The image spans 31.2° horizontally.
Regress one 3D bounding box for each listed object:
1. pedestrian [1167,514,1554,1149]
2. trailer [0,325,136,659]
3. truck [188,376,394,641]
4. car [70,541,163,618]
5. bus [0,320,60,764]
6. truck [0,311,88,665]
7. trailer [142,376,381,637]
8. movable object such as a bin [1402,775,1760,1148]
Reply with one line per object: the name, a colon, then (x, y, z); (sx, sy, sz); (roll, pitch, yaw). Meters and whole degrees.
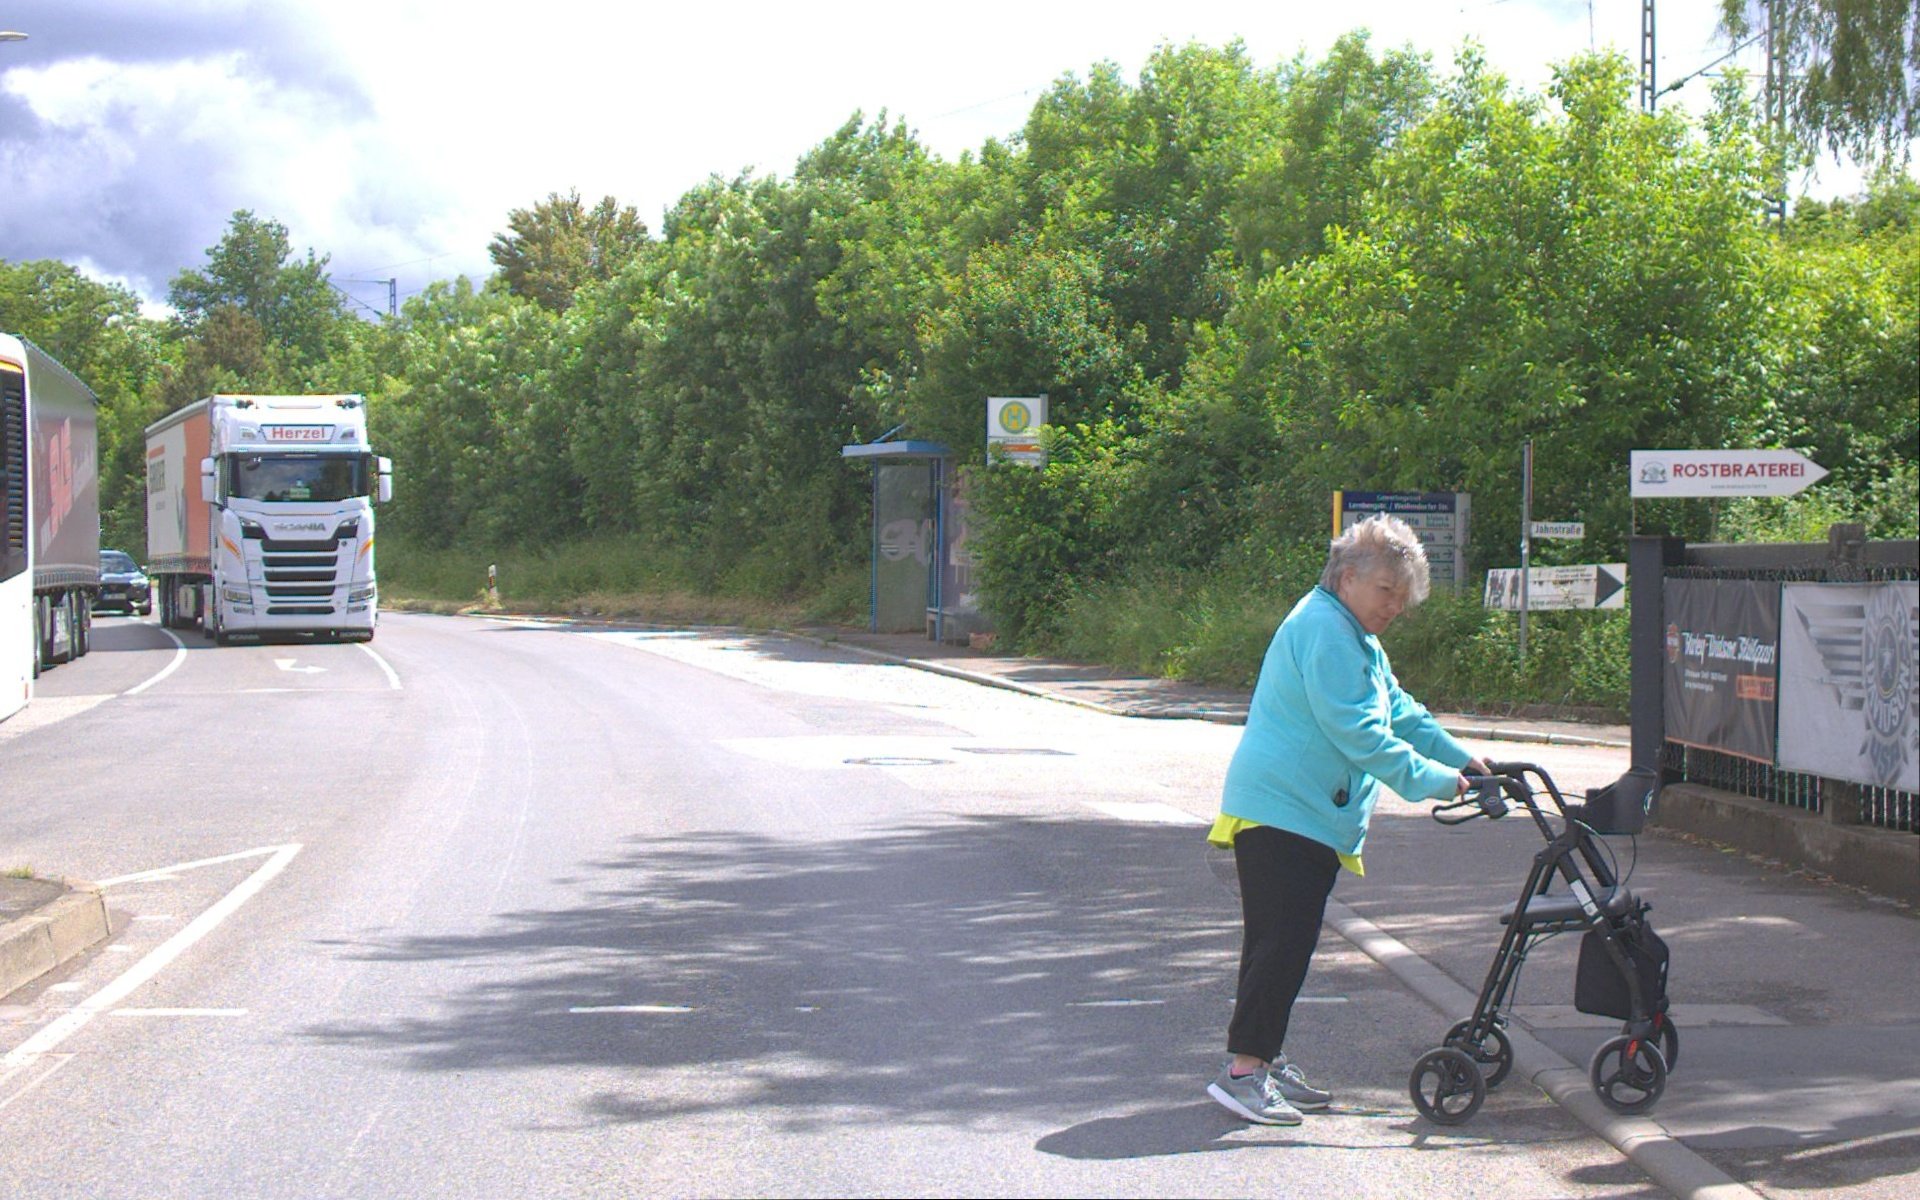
pedestrian: (0.998, 0.562, 8.733); (0.838, 1.538, 0.734); (1, 0, -4)
trailer: (-13.715, -1.417, 49.271); (2.798, 4.039, 15.560); (1, 1, -10)
truck: (-11.005, -1.450, 56.254); (2.770, 4.105, 4.988); (1, 1, -17)
car: (-19.411, -0.476, 79.015); (1.993, 1.700, 4.001); (1, 1, -15)
bus: (-7.837, -0.344, 18.822); (2.718, 3.020, 12.266); (0, 1, -1)
truck: (-12.416, -1.329, 42.279); (2.798, 4.039, 6.503); (1, 1, -10)
trailer: (-12.924, -1.582, 62.436); (2.770, 4.130, 15.356); (1, 1, -17)
movable object such as a bin: (1.567, 0.905, 8.762); (0.746, 0.868, 0.671); (1, 0, -4)
